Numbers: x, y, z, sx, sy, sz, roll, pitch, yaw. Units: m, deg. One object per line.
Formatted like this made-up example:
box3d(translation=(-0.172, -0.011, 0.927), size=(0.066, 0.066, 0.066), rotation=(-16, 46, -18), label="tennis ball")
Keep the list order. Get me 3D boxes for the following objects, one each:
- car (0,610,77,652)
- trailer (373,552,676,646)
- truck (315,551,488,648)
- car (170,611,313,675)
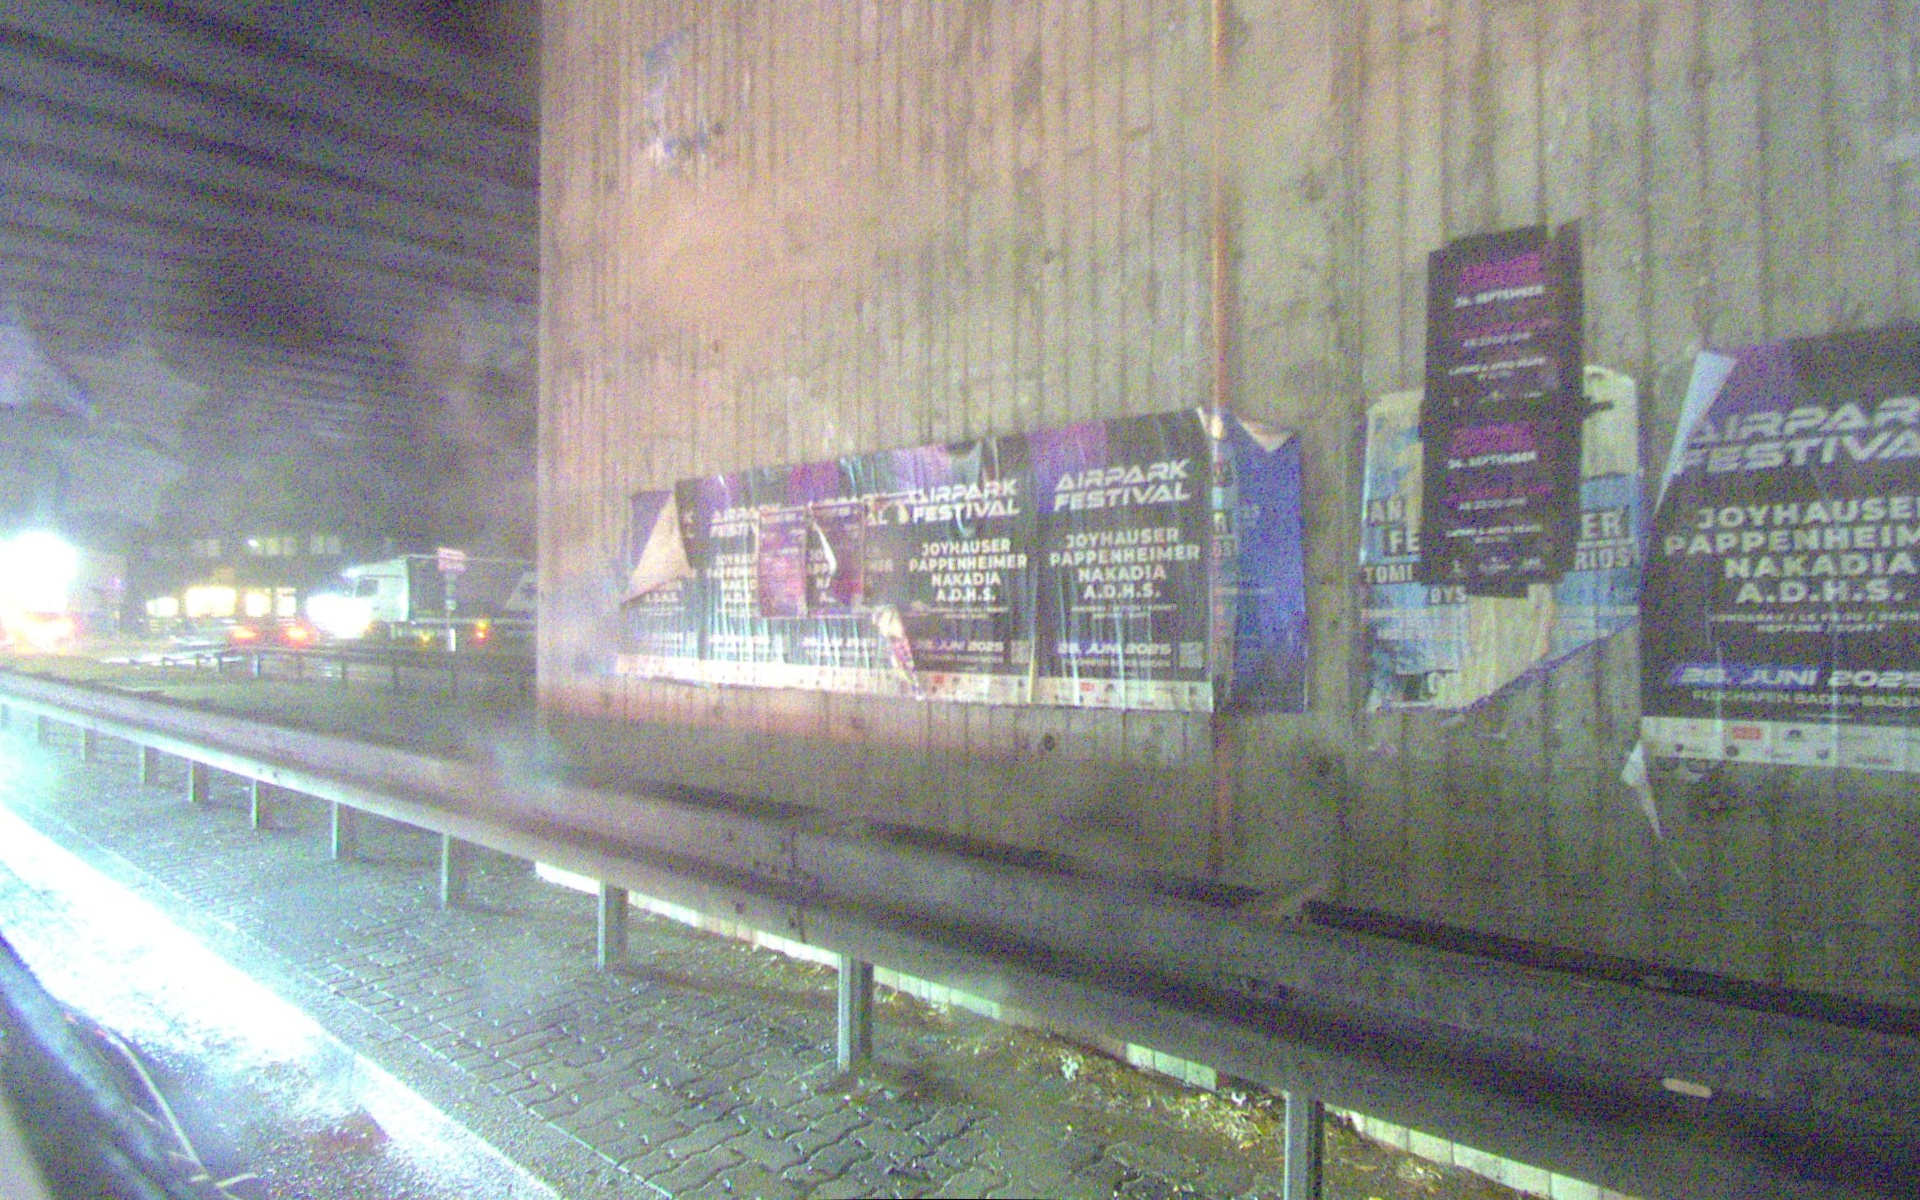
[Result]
box3d(translation=(-37.995, 1.231, 41.222), size=(4.127, 1.617, 1.805), rotation=(-1, 0, 30), label="car")
box3d(translation=(-21.723, -0.094, 51.658), size=(13.713, 4.208, 3.973), rotation=(-1, 0, -44), label="trailer")
box3d(translation=(-26.076, -0.035, 47.364), size=(6.282, 4.208, 3.973), rotation=(-1, 0, -44), label="truck")
box3d(translation=(-20.027, 1.148, 28.178), size=(3.989, 1.617, 1.977), rotation=(-1, 0, 34), label="car")
